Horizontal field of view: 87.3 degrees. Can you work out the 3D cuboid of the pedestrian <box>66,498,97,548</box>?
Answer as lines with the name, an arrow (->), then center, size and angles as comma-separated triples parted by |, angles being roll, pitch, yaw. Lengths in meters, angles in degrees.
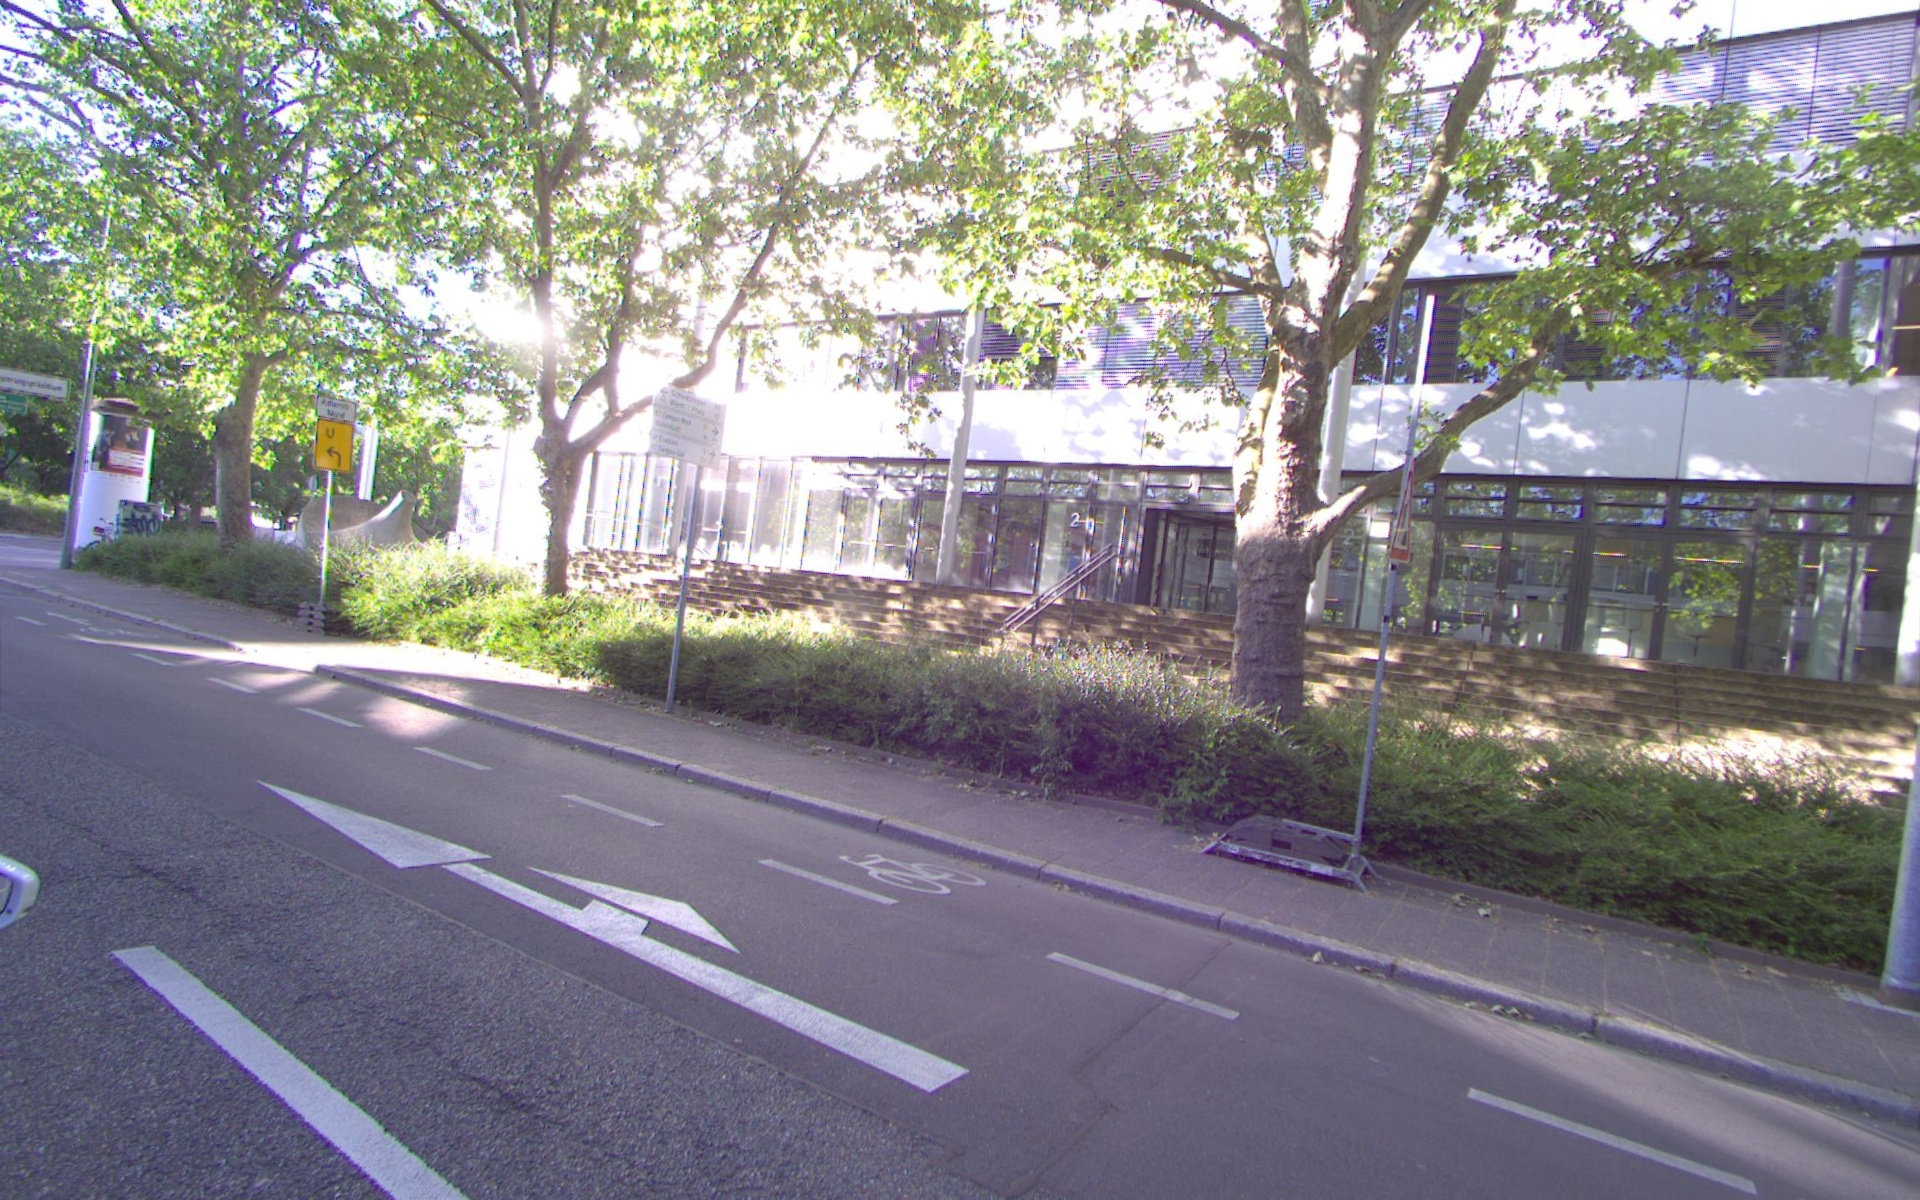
pedestrian -> -31.565, -2.752, 36.136 | 0.674, 1.686, 0.628 | 7, 0, 42

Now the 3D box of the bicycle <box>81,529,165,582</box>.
bicycle -> -19.231, -1.017, 23.135 | 0.357, 1.036, 1.354 | 7, -1, 33
